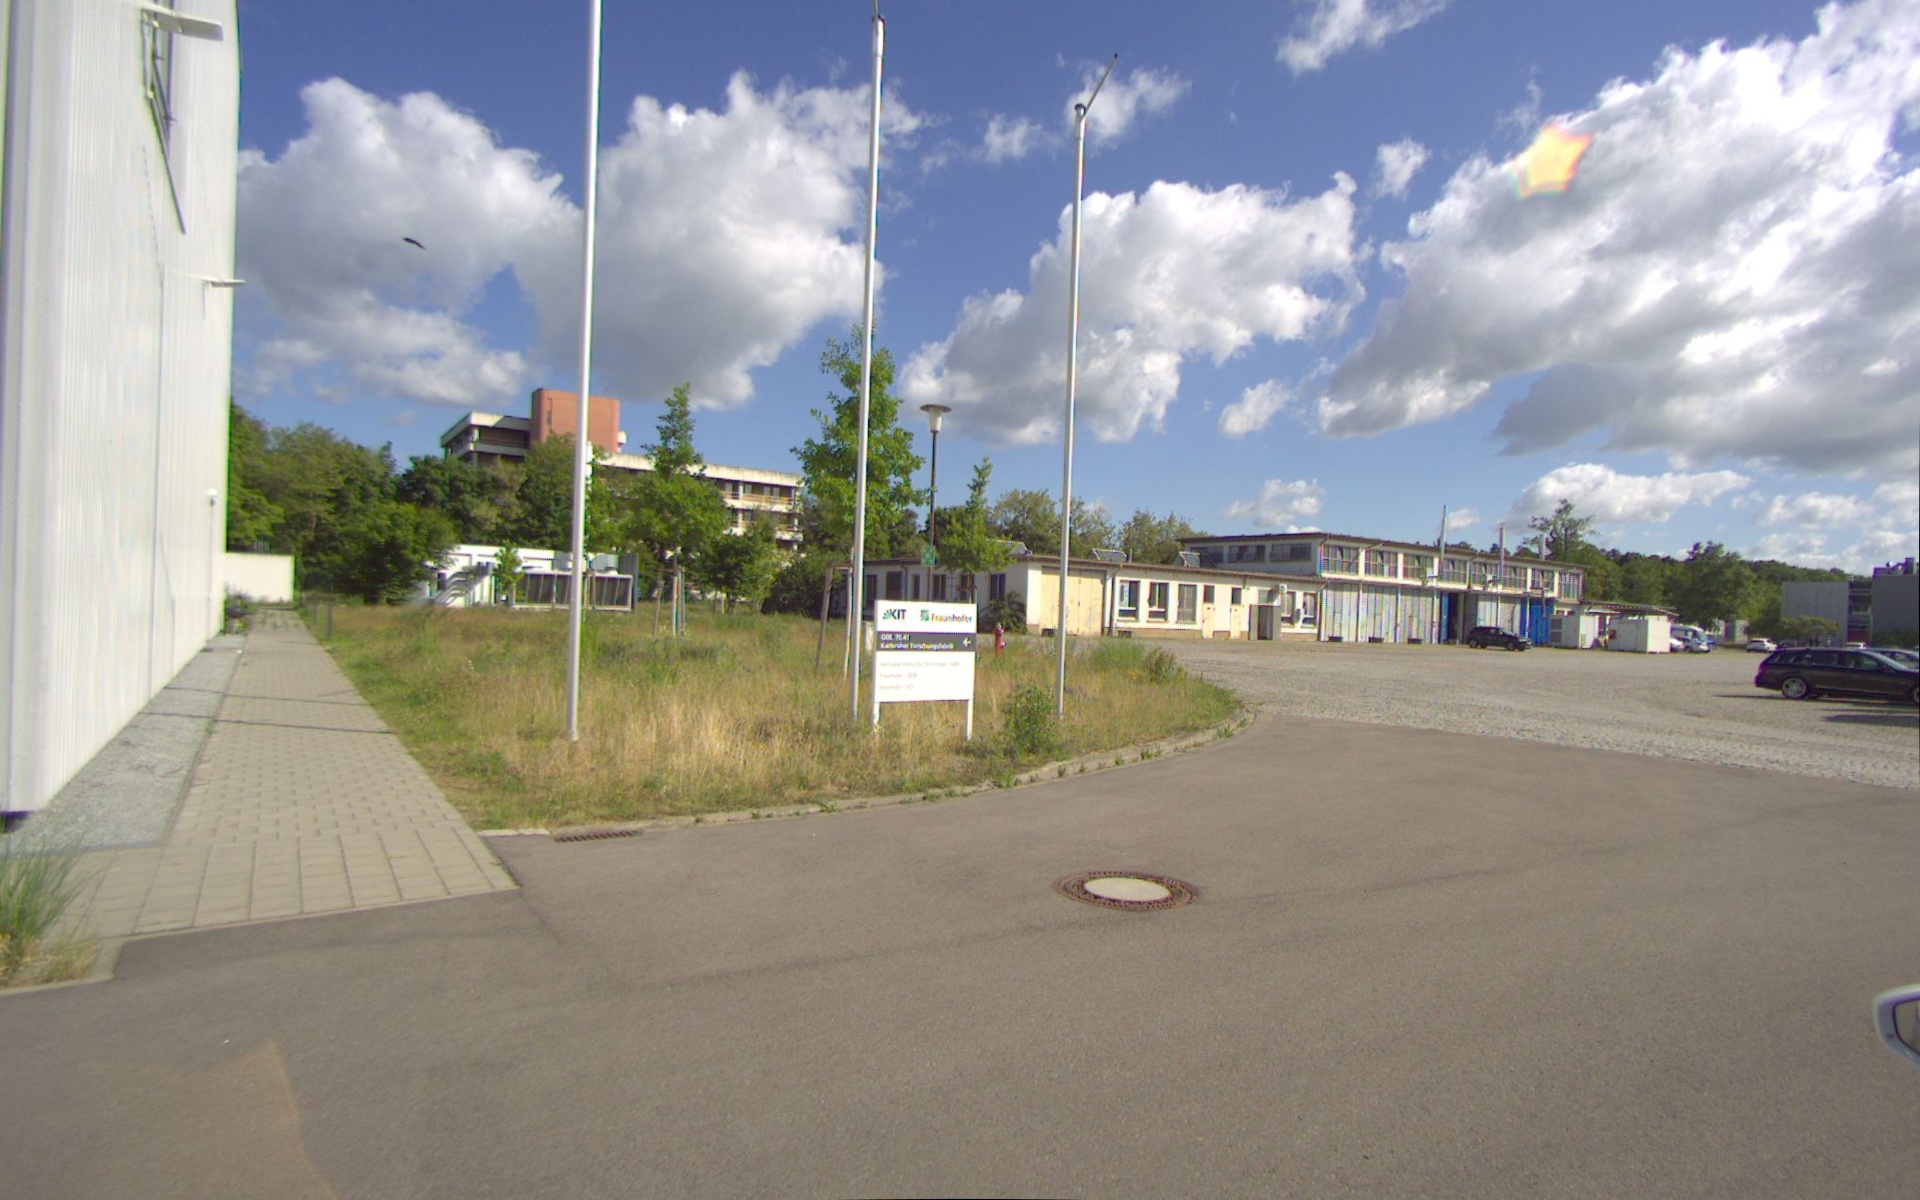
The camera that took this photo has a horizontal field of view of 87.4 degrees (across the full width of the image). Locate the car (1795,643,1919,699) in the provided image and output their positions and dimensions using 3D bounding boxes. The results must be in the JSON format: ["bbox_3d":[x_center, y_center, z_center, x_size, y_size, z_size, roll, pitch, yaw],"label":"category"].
[{"bbox_3d":[27.482,2.112,29.252,1.885,1.462,4.500,4,-2,-34],"label":"car"}]

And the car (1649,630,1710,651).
[{"bbox_3d":[65.425,3.666,91.402,1.787,1.652,4.089,3,0,-30],"label":"car"}]

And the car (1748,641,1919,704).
[{"bbox_3d":[24.734,1.994,27.559,1.968,1.462,4.500,4,-2,-34],"label":"car"}]

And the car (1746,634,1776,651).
[{"bbox_3d":[85.939,4.582,107.777,4.100,1.690,1.831,3,-3,-40],"label":"car"}]

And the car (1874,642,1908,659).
[{"bbox_3d":[91.858,5.010,99.068,4.000,1.557,1.863,3,-3,-38],"label":"car"}]

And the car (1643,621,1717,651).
[{"bbox_3d":[67.250,3.309,93.912,2.026,2.474,5.232,2,0,-30],"label":"car"}]

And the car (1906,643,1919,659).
[{"bbox_3d":[93.344,4.976,97.289,4.000,1.557,1.863,3,-3,-38],"label":"car"}]

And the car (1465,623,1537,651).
[{"bbox_3d":[38.690,2.625,71.877,1.767,1.688,4.132,3,1,-36],"label":"car"}]

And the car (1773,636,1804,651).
[{"bbox_3d":[87.222,4.598,105.696,4.003,1.557,1.862,3,-3,-40],"label":"car"}]

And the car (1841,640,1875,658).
[{"bbox_3d":[90.539,4.986,101.262,4.000,1.711,1.863,3,-3,-38],"label":"car"}]
